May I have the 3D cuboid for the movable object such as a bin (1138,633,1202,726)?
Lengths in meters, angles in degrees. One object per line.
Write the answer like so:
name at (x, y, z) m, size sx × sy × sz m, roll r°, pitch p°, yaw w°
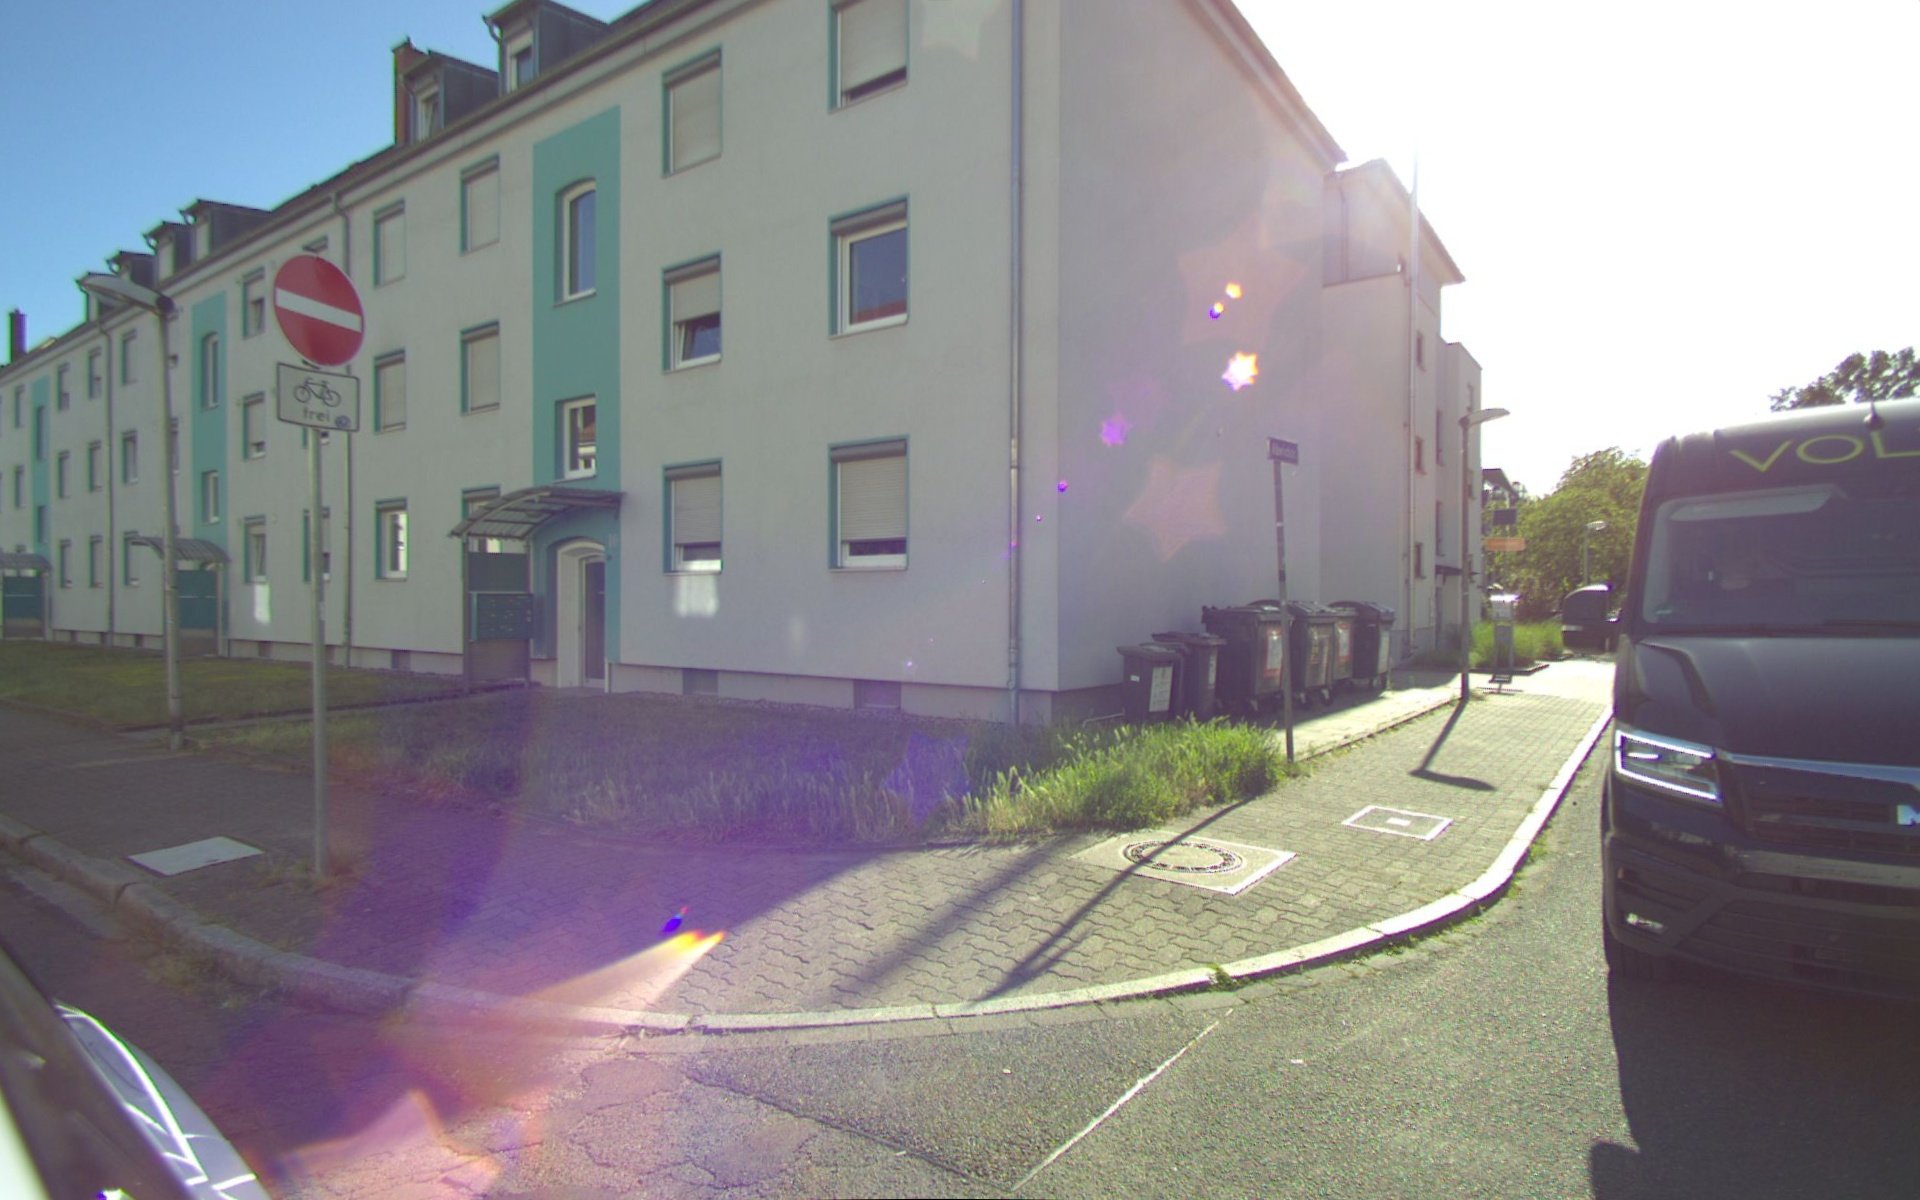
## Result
movable object such as a bin at (2.272, 0.844, 10.953) m, size 0.531 × 0.956 × 0.493 m, roll 0°, pitch -1°, yaw 36°

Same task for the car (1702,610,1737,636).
car at (62.525, 1.916, 83.254) m, size 1.999 × 2.029 × 3.944 m, roll -1°, pitch -2°, yaw 42°

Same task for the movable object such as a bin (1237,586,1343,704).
movable object such as a bin at (4.507, 0.581, 13.802) m, size 1.043 × 1.521 × 1.128 m, roll 0°, pitch 0°, yaw 39°

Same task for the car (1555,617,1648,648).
car at (26.820, 1.340, 42.324) m, size 3.112 × 1.246 × 1.381 m, roll -1°, pitch -2°, yaw 42°

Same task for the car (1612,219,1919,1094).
car at (4.711, 0.217, 5.228) m, size 1.996 × 2.564 × 5.889 m, roll 0°, pitch -1°, yaw 35°

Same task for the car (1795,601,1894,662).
car at (25.645, 0.912, 29.456) m, size 1.781 × 1.670 × 3.525 m, roll 0°, pitch -2°, yaw 35°

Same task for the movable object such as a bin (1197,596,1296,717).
movable object such as a bin at (3.563, 0.663, 12.553) m, size 0.846 × 1.411 × 1.052 m, roll 0°, pitch 0°, yaw 39°

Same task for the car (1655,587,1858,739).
car at (10.447, 0.771, 13.505) m, size 1.862 × 1.708 × 3.951 m, roll 0°, pitch -2°, yaw 36°

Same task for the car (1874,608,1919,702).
car at (15.935, 0.905, 16.078) m, size 1.782 × 1.394 × 3.522 m, roll 2°, pitch 0°, yaw 38°

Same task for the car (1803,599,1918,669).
car at (22.964, 0.864, 25.946) m, size 1.781 × 1.670 × 3.525 m, roll 0°, pitch -2°, yaw 35°

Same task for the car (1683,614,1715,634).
car at (67.988, 2.223, 93.122) m, size 1.993 × 1.716 × 3.958 m, roll 0°, pitch -2°, yaw 31°

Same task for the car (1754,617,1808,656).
car at (36.400, 1.611, 44.910) m, size 1.783 × 1.670 × 3.521 m, roll -1°, pitch -2°, yaw 39°

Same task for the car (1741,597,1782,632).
car at (45.652, 0.842, 57.667) m, size 1.783 × 1.922 × 3.521 m, roll -1°, pitch -2°, yaw 39°

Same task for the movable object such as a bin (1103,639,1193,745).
movable object such as a bin at (1.920, 0.911, 10.326) m, size 0.713 × 0.999 × 0.607 m, roll -1°, pitch 0°, yaw 34°

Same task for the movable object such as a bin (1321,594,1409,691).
movable object such as a bin at (6.680, 0.665, 16.672) m, size 1.043 × 1.521 × 1.209 m, roll 0°, pitch 0°, yaw 39°
